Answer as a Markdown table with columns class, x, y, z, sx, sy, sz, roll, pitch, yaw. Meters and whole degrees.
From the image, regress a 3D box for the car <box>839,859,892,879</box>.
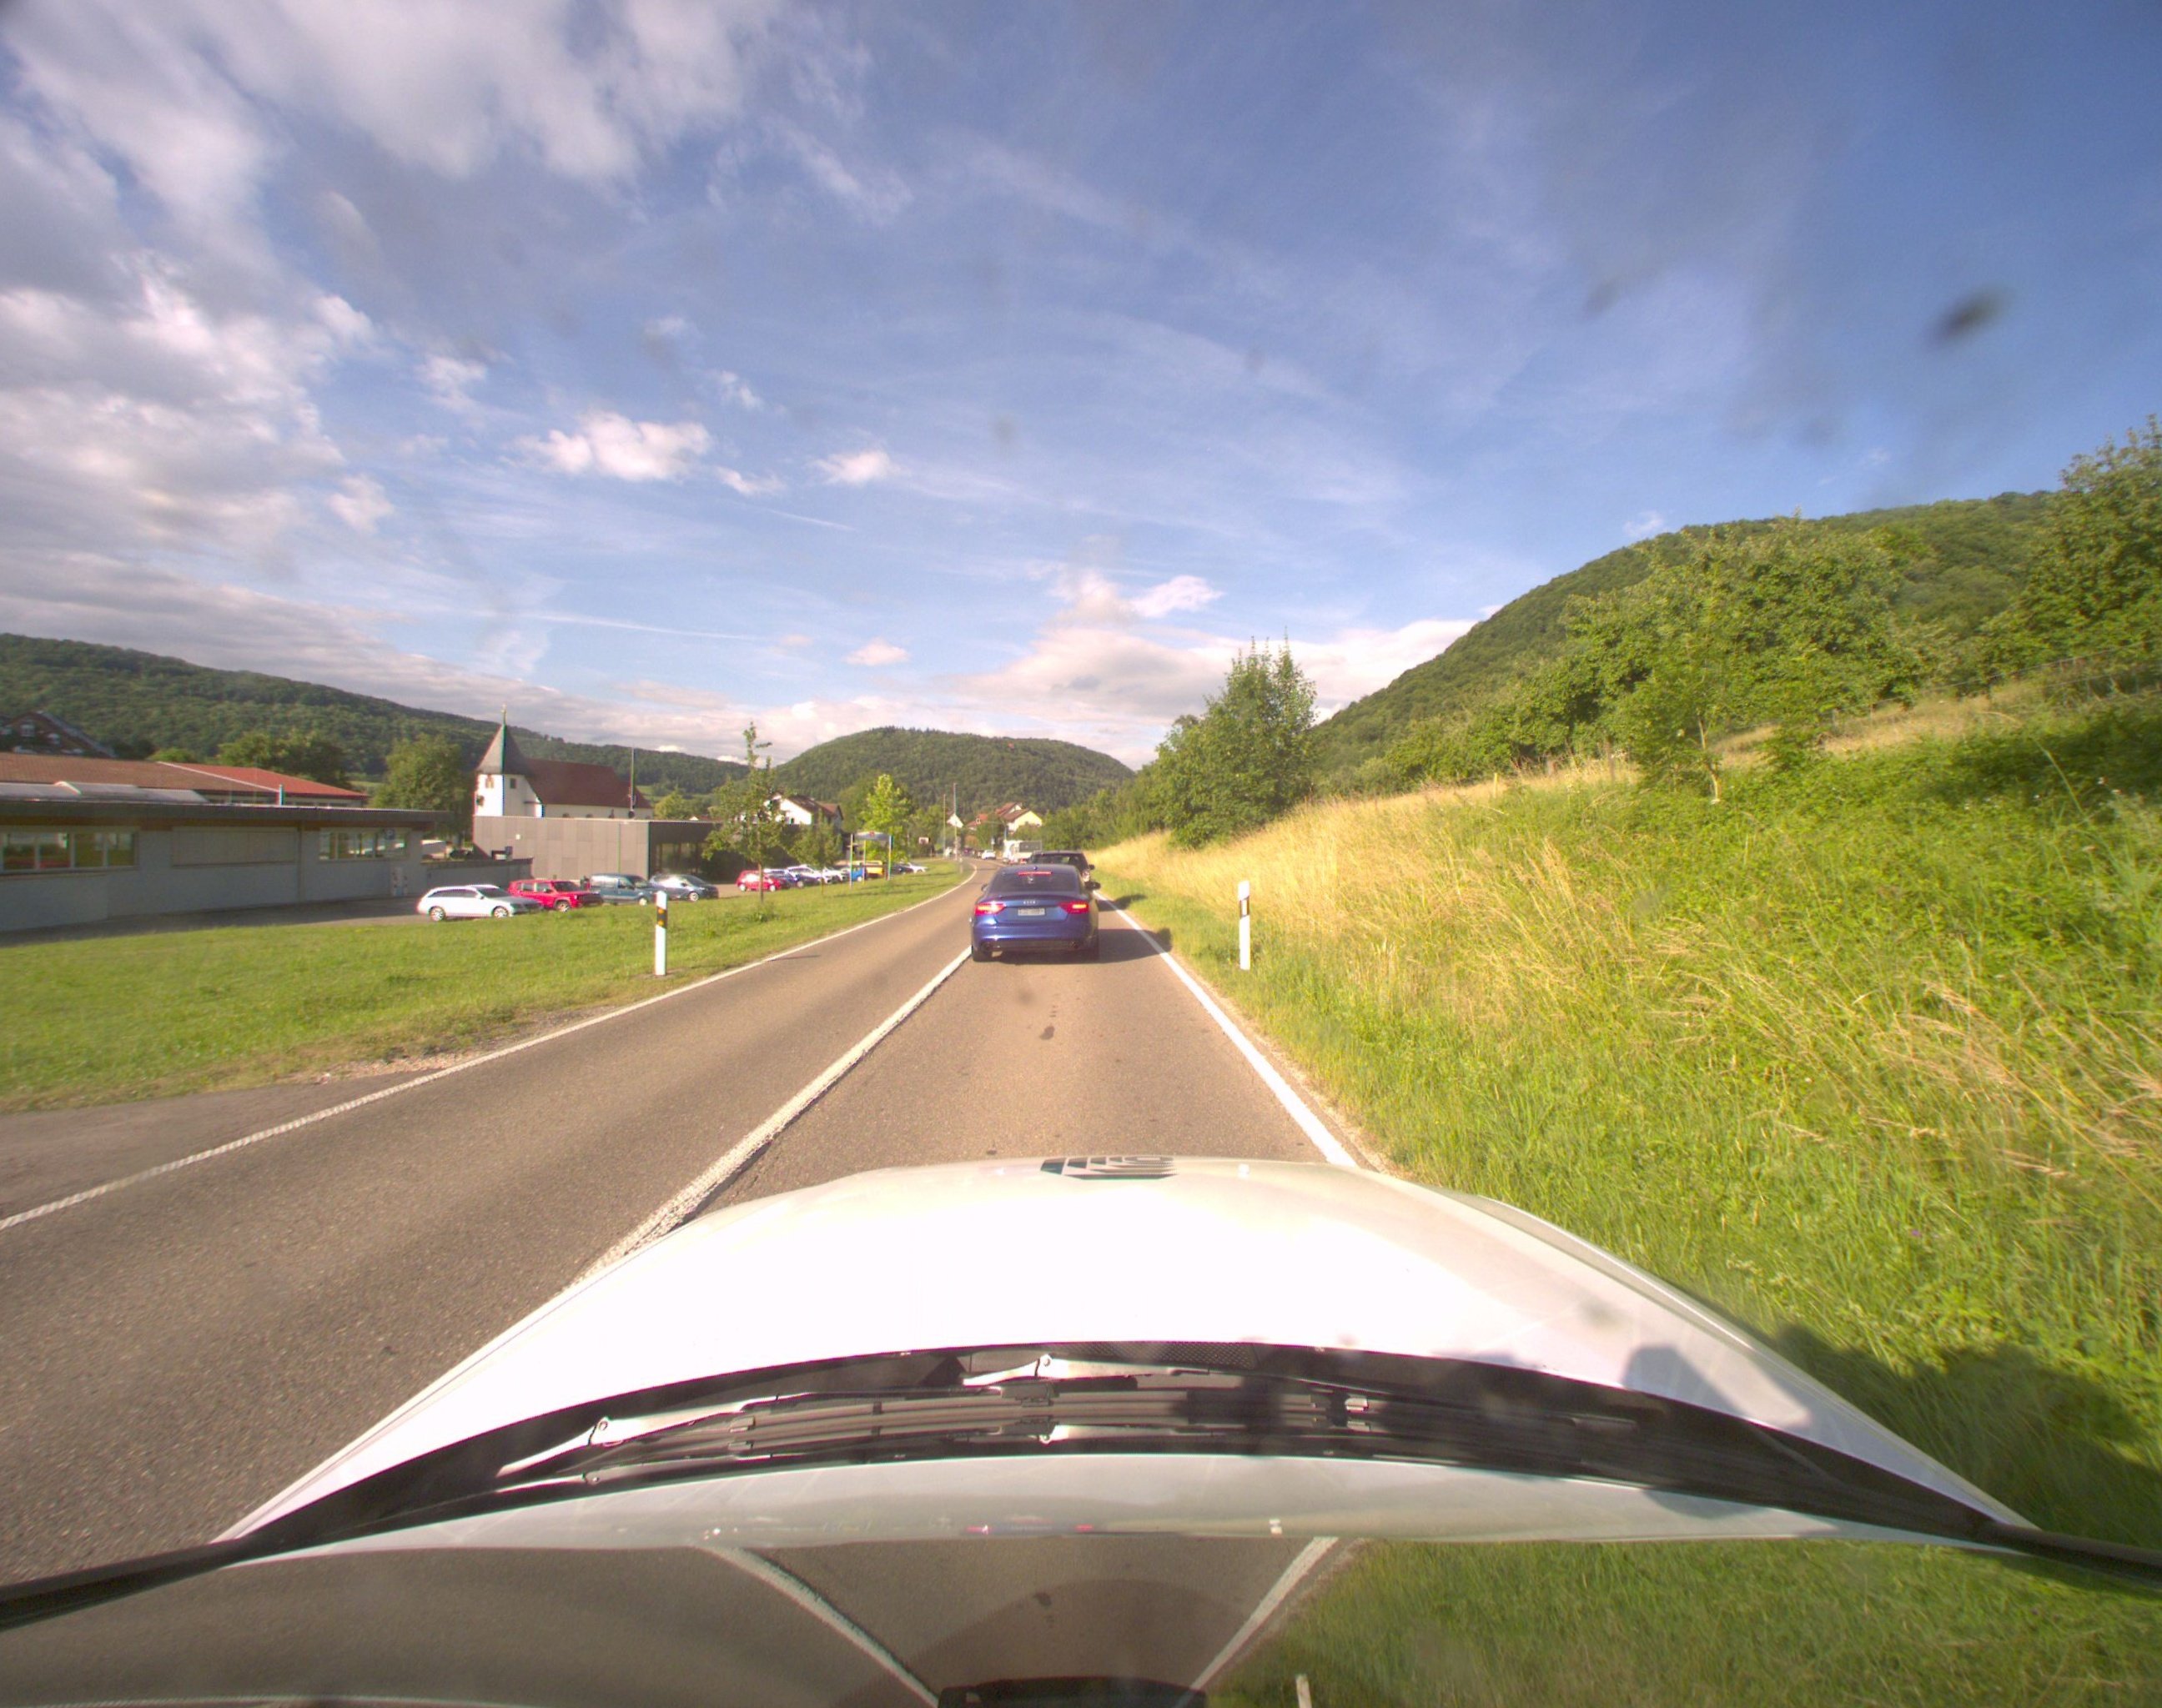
| class | x | y | z | sx | sy | sz | roll | pitch | yaw |
| --- | --- | --- | --- | --- | --- | --- | --- | --- | --- |
| car | -20.911 | 1.460 | 79.050 | 4.529 | 1.815 | 1.844 | -2 | 0 | 6 |

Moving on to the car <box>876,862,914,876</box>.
| class | x | y | z | sx | sy | sz | roll | pitch | yaw |
| --- | --- | --- | --- | --- | --- | --- | --- | --- | --- |
| car | -20.309 | 1.648 | 88.971 | 3.693 | 1.439 | 1.512 | -2 | 0 | 6 |

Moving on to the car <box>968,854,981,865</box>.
| class | x | y | z | sx | sy | sz | roll | pitch | yaw |
| --- | --- | --- | --- | --- | --- | --- | --- | --- | --- |
| car | -18.463 | 0.980 | 140.875 | 1.663 | 1.924 | 3.979 | -2 | 0 | -16 |

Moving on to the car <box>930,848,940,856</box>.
| class | x | y | z | sx | sy | sz | roll | pitch | yaw |
| --- | --- | --- | --- | --- | --- | --- | --- | --- | --- |
| car | -35.042 | -0.424 | 195.634 | 1.682 | 1.924 | 3.975 | -1 | 0 | -18 |

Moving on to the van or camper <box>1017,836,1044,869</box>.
| class | x | y | z | sx | sy | sz | roll | pitch | yaw |
| --- | --- | --- | --- | --- | --- | --- | --- | --- | --- |
| van or camper | -4.153 | -0.077 | 66.616 | 2.048 | 2.505 | 5.802 | -2 | 0 | -5 |

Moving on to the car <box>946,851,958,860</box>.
| class | x | y | z | sx | sy | sz | roll | pitch | yaw |
| --- | --- | --- | --- | --- | --- | --- | --- | --- | --- |
| car | -27.503 | 0.306 | 173.538 | 1.683 | 1.924 | 3.973 | -2 | 0 | -20 |

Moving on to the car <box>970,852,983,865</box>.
| class | x | y | z | sx | sy | sz | roll | pitch | yaw |
| --- | --- | --- | --- | --- | --- | --- | --- | --- | --- |
| car | -16.752 | 0.738 | 130.897 | 1.661 | 1.924 | 3.983 | -2 | 0 | -13 |

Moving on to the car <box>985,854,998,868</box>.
| class | x | y | z | sx | sy | sz | roll | pitch | yaw |
| --- | --- | --- | --- | --- | --- | --- | --- | --- | --- |
| car | -13.187 | 1.005 | 119.856 | 1.660 | 1.924 | 3.985 | -2 | 0 | -11 |

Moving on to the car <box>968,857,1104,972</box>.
| class | x | y | z | sx | sy | sz | roll | pitch | yaw |
| --- | --- | --- | --- | --- | --- | --- | --- | --- | --- |
| car | -0.659 | 0.793 | 12.415 | 1.738 | 1.450 | 3.513 | -1 | 0 | -3 |

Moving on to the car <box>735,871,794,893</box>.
| class | x | y | z | sx | sy | sz | roll | pitch | yaw |
| --- | --- | --- | --- | --- | --- | --- | --- | --- | --- |
| car | -22.867 | 1.995 | 58.880 | 3.605 | 1.444 | 1.651 | -2 | 0 | 6 |

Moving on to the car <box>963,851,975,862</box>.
| class | x | y | z | sx | sy | sz | roll | pitch | yaw |
| --- | --- | --- | --- | --- | --- | --- | --- | --- | --- |
| car | -20.765 | 0.524 | 151.037 | 1.681 | 1.924 | 3.977 | -2 | 0 | -17 |

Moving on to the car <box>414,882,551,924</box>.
| class | x | y | z | sx | sy | sz | roll | pitch | yaw |
| --- | --- | --- | --- | --- | --- | --- | --- | --- | --- |
| car | -26.160 | 2.133 | 35.701 | 4.618 | 1.589 | 2.003 | -2 | 0 | 5 |

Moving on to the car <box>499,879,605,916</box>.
| class | x | y | z | sx | sy | sz | roll | pitch | yaw |
| --- | --- | --- | --- | --- | --- | --- | --- | --- | --- |
| car | -25.046 | 2.057 | 38.600 | 3.900 | 1.579 | 1.758 | -2 | 0 | 5 |

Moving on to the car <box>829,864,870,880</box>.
| class | x | y | z | sx | sy | sz | roll | pitch | yaw |
| --- | --- | --- | --- | --- | --- | --- | --- | --- | --- |
| car | -21.671 | 1.692 | 76.426 | 3.359 | 1.373 | 1.659 | -2 | 0 | -1 |

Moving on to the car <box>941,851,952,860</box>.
| class | x | y | z | sx | sy | sz | roll | pitch | yaw |
| --- | --- | --- | --- | --- | --- | --- | --- | --- | --- |
| car | -29.915 | 0.364 | 180.948 | 1.960 | 1.924 | 3.977 | -2 | 0 | -17 |

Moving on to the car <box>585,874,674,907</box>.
| class | x | y | z | sx | sy | sz | roll | pitch | yaw |
| --- | --- | --- | --- | --- | --- | --- | --- | --- | --- |
| car | -24.459 | 1.964 | 44.205 | 3.845 | 1.722 | 1.757 | -1 | 0 | 3 |

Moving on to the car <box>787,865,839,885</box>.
| class | x | y | z | sx | sy | sz | roll | pitch | yaw |
| --- | --- | --- | --- | --- | --- | --- | --- | --- | --- |
| car | -22.038 | 1.739 | 67.093 | 3.647 | 1.494 | 1.599 | -2 | -1 | 6 |

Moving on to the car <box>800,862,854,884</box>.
| class | x | y | z | sx | sy | sz | roll | pitch | yaw |
| --- | --- | --- | --- | --- | --- | --- | --- | --- | --- |
| car | -21.965 | 1.648 | 70.527 | 4.056 | 1.673 | 1.600 | -2 | 1 | 6 |

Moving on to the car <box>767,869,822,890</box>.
| class | x | y | z | sx | sy | sz | roll | pitch | yaw |
| --- | --- | --- | --- | --- | --- | --- | --- | --- | --- |
| car | -22.445 | 1.988 | 63.882 | 3.605 | 1.405 | 1.600 | -2 | 2 | 6 |

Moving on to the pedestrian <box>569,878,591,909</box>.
| class | x | y | z | sx | sy | sz | roll | pitch | yaw |
| --- | --- | --- | --- | --- | --- | --- | --- | --- | --- |
| pedestrian | -28.129 | 2.221 | 45.749 | 0.793 | 1.693 | 0.703 | 0 | 0 | -7 |

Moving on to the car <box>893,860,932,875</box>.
| class | x | y | z | sx | sy | sz | roll | pitch | yaw |
| --- | --- | --- | --- | --- | --- | --- | --- | --- | --- |
| car | -19.382 | 1.525 | 93.537 | 4.014 | 1.660 | 1.659 | -2 | 0 | 6 |

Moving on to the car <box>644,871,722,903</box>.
| class | x | y | z | sx | sy | sz | roll | pitch | yaw |
| --- | --- | --- | --- | --- | --- | --- | --- | --- | --- |
| car | -23.789 | 1.972 | 48.766 | 3.799 | 1.722 | 1.735 | -2 | 0 | 5 |

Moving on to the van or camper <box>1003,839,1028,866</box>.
| class | x | y | z | sx | sy | sz | roll | pitch | yaw |
| --- | --- | --- | --- | --- | --- | --- | --- | --- | --- |
| van or camper | -6.932 | -0.164 | 85.958 | 2.279 | 2.713 | 5.751 | -2 | 0 | -8 |

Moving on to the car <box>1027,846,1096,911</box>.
| class | x | y | z | sx | sy | sz | roll | pitch | yaw |
| --- | --- | --- | --- | --- | --- | --- | --- | --- | --- |
| car | -0.595 | 0.613 | 22.206 | 1.643 | 1.625 | 3.510 | 0 | 0 | -6 |

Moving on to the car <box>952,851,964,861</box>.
| class | x | y | z | sx | sy | sz | roll | pitch | yaw |
| --- | --- | --- | --- | --- | --- | --- | --- | --- | --- |
| car | -24.903 | 0.335 | 164.459 | 1.682 | 1.924 | 3.974 | -2 | 0 | -19 |
